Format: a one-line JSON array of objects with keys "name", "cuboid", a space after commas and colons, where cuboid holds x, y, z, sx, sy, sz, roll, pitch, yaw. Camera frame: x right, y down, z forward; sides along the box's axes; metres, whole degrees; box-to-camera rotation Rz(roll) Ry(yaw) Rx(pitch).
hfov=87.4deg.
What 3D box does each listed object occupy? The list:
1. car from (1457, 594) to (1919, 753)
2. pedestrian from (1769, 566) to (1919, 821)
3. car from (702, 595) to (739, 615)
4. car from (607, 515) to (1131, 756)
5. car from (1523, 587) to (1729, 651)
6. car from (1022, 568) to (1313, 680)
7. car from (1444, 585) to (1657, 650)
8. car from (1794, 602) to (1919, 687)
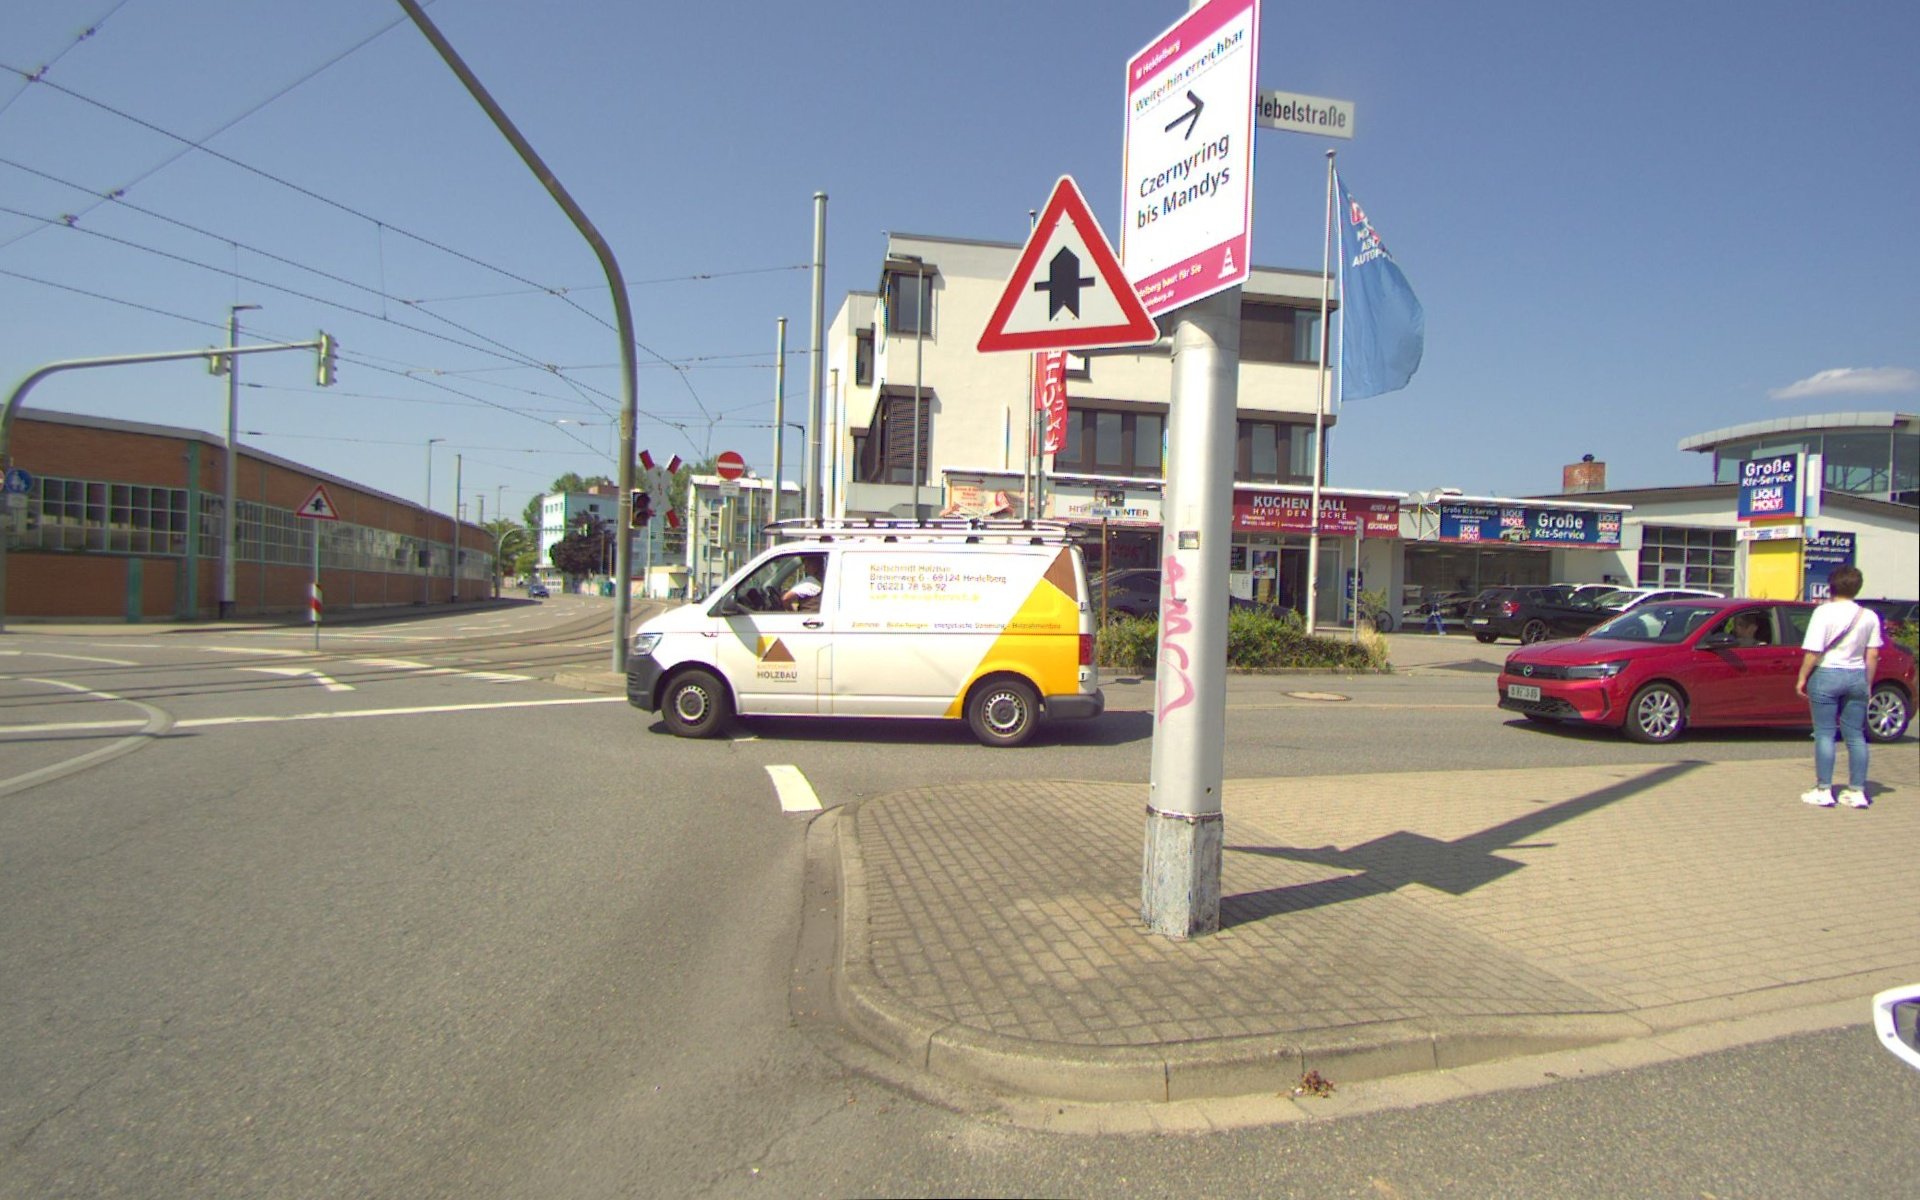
[{"name": "car", "cuboid": [7.794, 0.701, 10.771, 4.065, 1.484, 1.845, 0, 2, -6]}, {"name": "pedestrian", "cuboid": [6.235, 0.613, 7.095, 0.749, 1.678, 0.670, 2, 1, 38]}, {"name": "car", "cuboid": [-24.378, 0.541, 102.369, 1.986, 2.040, 3.949, 1, -2, -43]}, {"name": "car", "cuboid": [-0.815, 0.296, 10.260, 4.835, 2.143, 2.028, 1, 1, 4]}, {"name": "car", "cuboid": [18.206, 0.551, 27.527, 4.842, 1.609, 1.883, 1, -2, -12]}, {"name": "car", "cuboid": [3.952, 0.459, 19.558, 5.183, 1.992, 1.963, 1, 0, -8]}, {"name": "car", "cuboid": [14.403, 0.429, 24.580, 4.242, 1.446, 2.028, 1, 0, -12]}, {"name": "car", "cuboid": [19.715, 0.879, 20.517, 3.926, 1.639, 1.997, 1, 0, -8]}]
